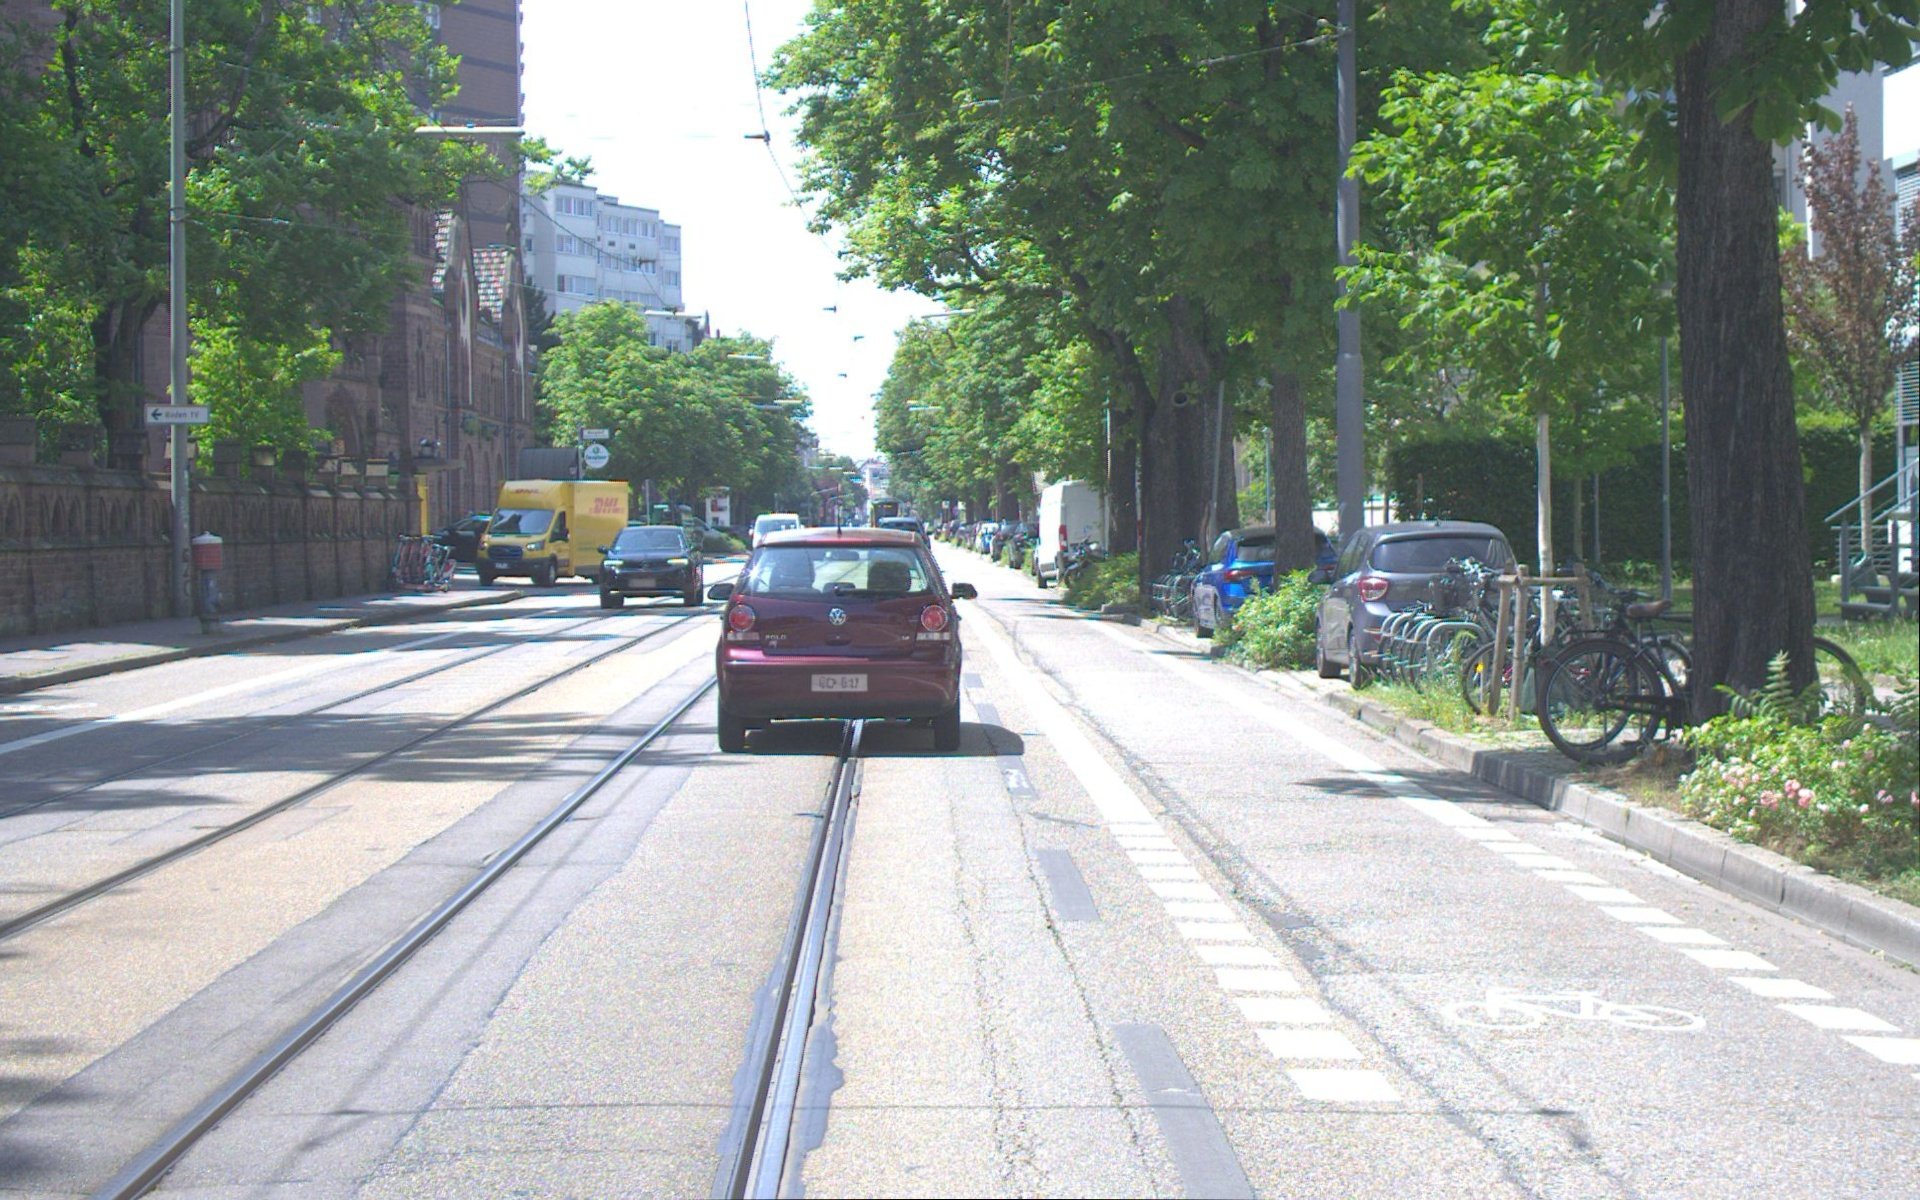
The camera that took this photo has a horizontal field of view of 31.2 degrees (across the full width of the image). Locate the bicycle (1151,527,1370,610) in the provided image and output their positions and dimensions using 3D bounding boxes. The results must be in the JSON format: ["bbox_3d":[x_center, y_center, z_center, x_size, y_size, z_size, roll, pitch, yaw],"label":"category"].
[{"bbox_3d":[4.341,-0.460,49.780,3.069,1.150,0.782,1,2,-2],"label":"bicycle"}]

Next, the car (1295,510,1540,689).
[{"bbox_3d":[4.204,-0.050,32.081,1.688,1.497,3.628,-2,2,-1],"label":"car"}]

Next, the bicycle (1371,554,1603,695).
[{"bbox_3d":[4.187,0.188,27.380,1.751,1.081,0.548,-1,2,-1],"label":"bicycle"}]

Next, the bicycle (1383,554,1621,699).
[{"bbox_3d":[4.209,0.198,26.771,1.751,1.081,0.548,-1,2,-1],"label":"bicycle"}]

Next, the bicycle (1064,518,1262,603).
[{"bbox_3d":[3.221,-0.632,54.745,3.069,1.308,0.782,1,2,-2],"label":"bicycle"}]

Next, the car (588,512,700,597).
[{"bbox_3d":[-5.919,-0.881,64.720,1.770,1.510,4.001,-1,2,-1],"label":"car"}]

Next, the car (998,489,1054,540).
[{"bbox_3d":[2.151,-2.832,113.168,1.674,1.650,4.001,1,2,-1],"label":"car"}]

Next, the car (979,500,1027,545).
[{"bbox_3d":[1.614,-2.943,130.258,1.674,1.650,4.001,1,2,-1],"label":"car"}]

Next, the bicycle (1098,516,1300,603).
[{"bbox_3d":[3.731,-0.635,53.779,3.069,1.308,0.782,1,2,-2],"label":"bicycle"}]

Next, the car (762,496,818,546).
[{"bbox_3d":[-6.549,-3.067,133.010,1.993,1.848,4.683,-1,2,-1],"label":"car"}]

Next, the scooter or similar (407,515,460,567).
[{"bbox_3d":[-11.945,-1.338,78.033,1.088,1.151,0.527,0,2,-22],"label":"scooter or similar"}]

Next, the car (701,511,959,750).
[{"bbox_3d":[-0.880,0.141,23.881,1.619,1.481,4.001,-1,2,-2],"label":"car"}]

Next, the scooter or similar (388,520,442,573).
[{"bbox_3d":[-11.960,-1.178,75.419,1.088,1.151,0.527,0,2,-22],"label":"scooter or similar"}]

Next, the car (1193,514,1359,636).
[{"bbox_3d":[4.032,-0.356,44.313,1.688,1.463,3.880,-1,2,-1],"label":"car"}]

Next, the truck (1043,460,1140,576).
[{"bbox_3d":[3.084,-1.962,81.599,1.993,2.652,4.876,1,2,-1],"label":"truck"}]

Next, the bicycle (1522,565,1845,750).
[{"bbox_3d":[4.416,0.342,21.075,1.825,1.081,0.718,-1,0,3],"label":"bicycle"}]

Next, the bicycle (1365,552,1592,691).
[{"bbox_3d":[4.219,0.169,28.029,1.751,1.081,0.548,-1,2,-1],"label":"bicycle"}]

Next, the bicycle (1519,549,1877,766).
[{"bbox_3d":[4.240,0.321,19.827,1.883,1.178,0.694,-1,1,-1],"label":"bicycle"}]

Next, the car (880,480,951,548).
[{"bbox_3d":[-1.375,-2.646,104.760,1.993,2.006,4.001,1,2,-3],"label":"car"}]

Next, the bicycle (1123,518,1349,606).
[{"bbox_3d":[4.237,-0.594,52.923,3.367,1.308,0.782,1,2,-2],"label":"bicycle"}]

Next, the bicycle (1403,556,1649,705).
[{"bbox_3d":[4.257,0.224,25.920,1.751,1.081,0.548,-1,2,-1],"label":"bicycle"}]

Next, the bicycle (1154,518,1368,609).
[{"bbox_3d":[4.466,-0.547,51.107,3.069,1.308,0.782,1,2,-2],"label":"bicycle"}]

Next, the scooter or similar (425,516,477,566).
[{"bbox_3d":[-11.763,-1.366,79.419,1.088,1.151,0.527,0,2,-22],"label":"scooter or similar"}]

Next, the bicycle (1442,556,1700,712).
[{"bbox_3d":[4.408,0.239,24.859,1.751,1.081,0.548,-1,2,-1],"label":"bicycle"}]

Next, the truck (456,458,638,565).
[{"bbox_3d":[-11.139,-2.421,93.445,2.371,2.777,7.315,0,2,15],"label":"truck"}]

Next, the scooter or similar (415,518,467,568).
[{"bbox_3d":[-11.880,-1.306,78.719,1.088,1.151,0.527,0,2,-22],"label":"scooter or similar"}]
